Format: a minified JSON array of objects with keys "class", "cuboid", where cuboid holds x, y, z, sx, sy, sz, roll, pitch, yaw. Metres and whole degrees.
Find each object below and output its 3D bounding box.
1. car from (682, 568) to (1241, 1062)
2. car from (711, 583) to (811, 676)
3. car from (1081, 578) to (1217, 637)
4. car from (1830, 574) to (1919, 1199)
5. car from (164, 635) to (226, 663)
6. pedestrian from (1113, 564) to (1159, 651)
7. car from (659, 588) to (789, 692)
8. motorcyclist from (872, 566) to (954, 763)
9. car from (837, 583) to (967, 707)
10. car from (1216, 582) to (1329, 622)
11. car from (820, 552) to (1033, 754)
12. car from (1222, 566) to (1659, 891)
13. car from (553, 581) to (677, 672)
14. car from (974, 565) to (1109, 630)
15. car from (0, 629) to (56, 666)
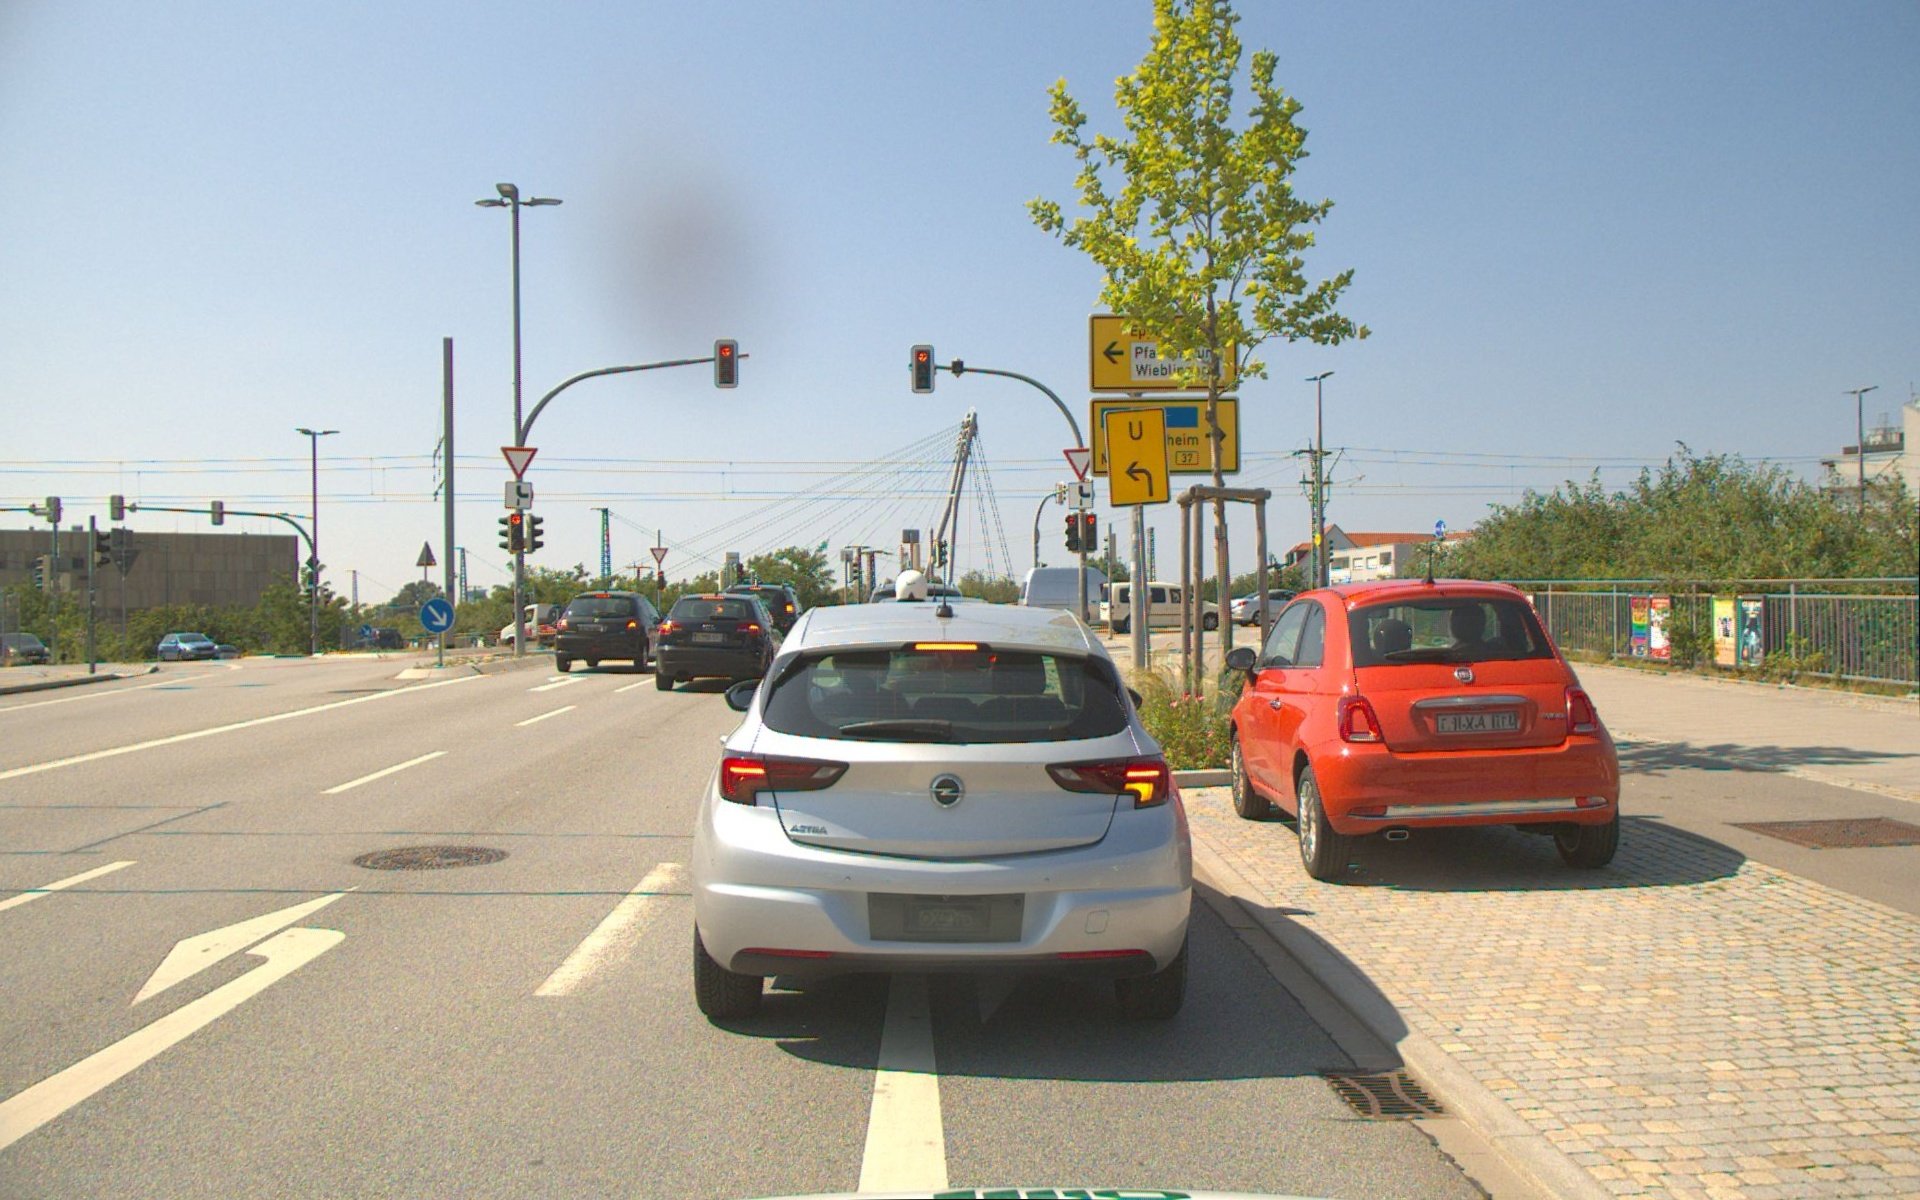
[{"class":"car","cuboid":[-0.097,0.676,7.100,1.708,1.503,3.997,1,0,-3]},{"class":"car","cuboid":[-3.739,0.529,31.552,1.616,1.643,3.818,1,0,-3]},{"class":"car","cuboid":[6.921,0.274,60.730,4.615,2.049,1.996,1,0,-9]},{"class":"car","cuboid":[2.923,0.637,1.930,1.626,1.451,3.999,-2,0,-1]},{"class":"car","cuboid":[-37.364,2.384,80.725,1.806,1.354,3.941,1,-2,-40]},{"class":"pedestrian","cuboid":[3.804,0.158,35.737,0.792,1.868,0.638,0,-1,-45]},{"class":"car","cuboid":[-3.581,0.581,25.628,1.543,1.459,3.785,1,0,-2]},{"class":"motorcyclist","cuboid":[-0.343,0.467,12.296,0.570,1.413,0.706,1,-1,-1]},{"class":"car","cuboid":[-0.783,0.574,23.818,1.689,1.591,4.000,1,1,-1]},{"class":"car","cuboid":[12.367,0.074,65.553,3.918,1.508,1.993,1,0,-13]},{"class":"car","cuboid":[-0.345,0.467,17.614,1.953,1.852,4.401,1,1,-1]},{"class":"car","cuboid":[2.610,0.616,9.750,1.577,1.522,3.352,-2,0,0]},{"class":"car","cuboid":[-6.378,0.475,30.939,1.565,1.574,3.761,1,0,-1]},{"class":"car","cuboid":[3.072,-0.068,62.986,4.906,2.418,1.780,0,-1,-9]},{"class":"car","cuboid":[-41.223,2.089,73.139,1.662,1.502,3.358,-1,1,-39]}]
